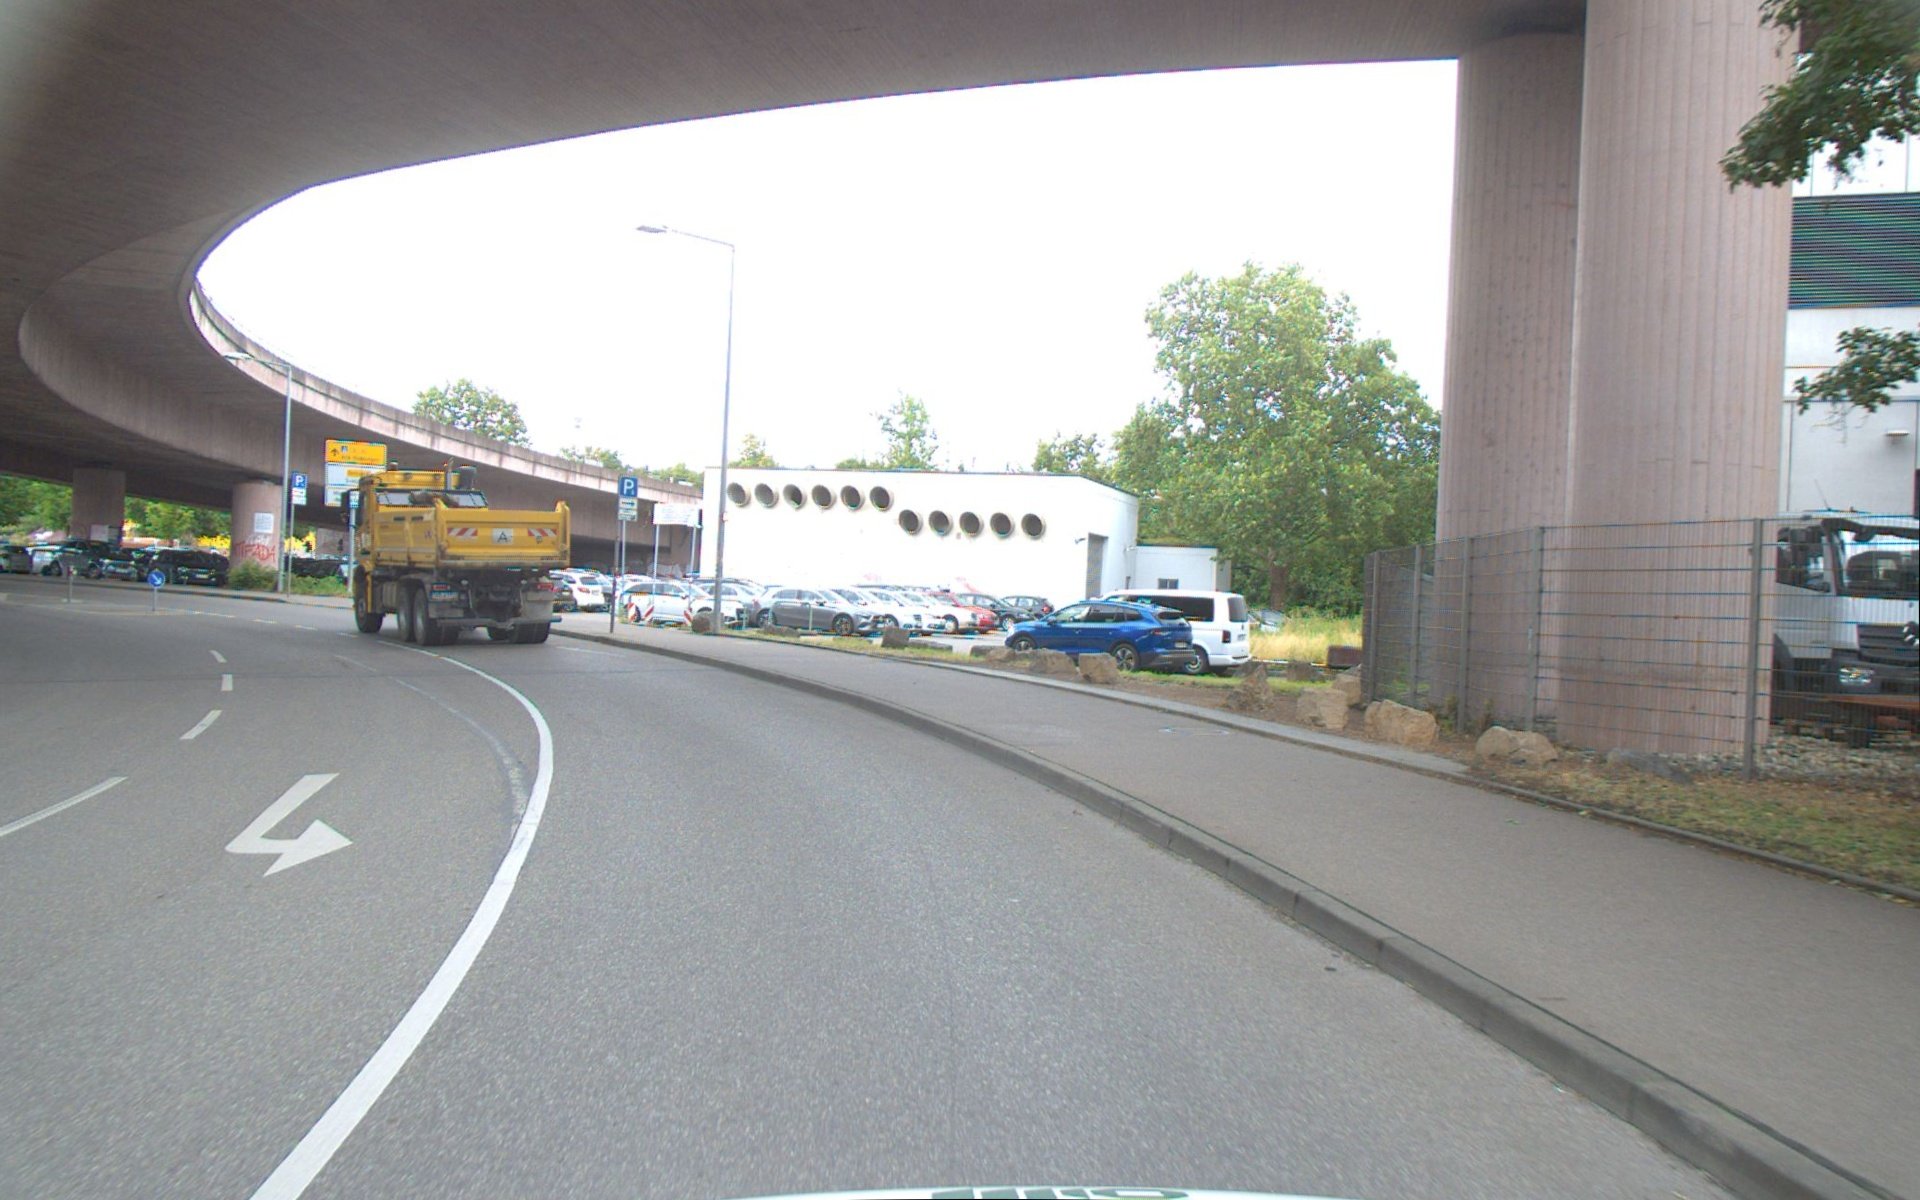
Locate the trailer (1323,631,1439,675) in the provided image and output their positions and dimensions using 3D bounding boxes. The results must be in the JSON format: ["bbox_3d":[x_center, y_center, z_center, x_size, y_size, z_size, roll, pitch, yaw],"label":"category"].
[{"bbox_3d":[9.675,1.207,37.968,2.498,0.915,1.484,1,0,17],"label":"trailer"}]

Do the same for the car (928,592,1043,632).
[{"bbox_3d":[1.068,0.482,68.230,4.337,1.450,1.839,3,0,22],"label":"car"}]

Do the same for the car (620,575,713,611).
[{"bbox_3d":[-14.450,-0.339,81.371,4.091,1.620,1.839,2,0,19],"label":"car"}]

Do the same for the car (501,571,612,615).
[{"bbox_3d":[-16.227,-0.269,66.564,3.989,1.584,1.757,2,0,19],"label":"car"}]

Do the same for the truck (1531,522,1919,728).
[{"bbox_3d":[12.379,0.344,27.077,2.414,2.936,6.084,2,0,-20],"label":"truck"}]

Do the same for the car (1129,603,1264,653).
[{"bbox_3d":[7.990,0.913,55.755,4.255,1.482,1.777,2,0,16],"label":"car"}]

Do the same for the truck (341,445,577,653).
[{"bbox_3d":[-10.499,-1.050,34.077,2.732,3.762,7.794,-1,2,-32],"label":"truck"}]

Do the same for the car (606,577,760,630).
[{"bbox_3d":[-8.986,0.109,53.665,4.576,1.501,1.858,3,0,22],"label":"car"}]

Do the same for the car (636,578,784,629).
[{"bbox_3d":[-8.493,0.107,56.176,4.575,1.501,1.859,2,0,19],"label":"car"}]

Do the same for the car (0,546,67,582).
[{"bbox_3d":[-43.973,-1.699,77.252,3.914,1.579,1.640,2,0,16],"label":"car"}]

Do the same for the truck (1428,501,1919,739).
[{"bbox_3d":[9.976,0.202,23.213,2.386,2.791,7.178,2,0,-25],"label":"truck"}]

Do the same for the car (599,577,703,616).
[{"bbox_3d":[-13.679,-0.166,73.217,4.159,1.535,1.710,2,0,19],"label":"car"}]

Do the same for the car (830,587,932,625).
[{"bbox_3d":[-3.322,0.237,69.620,3.881,1.417,1.770,2,0,19],"label":"car"}]

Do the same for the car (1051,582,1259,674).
[{"bbox_3d":[4.685,0.641,39.951,4.576,1.991,1.891,2,0,28],"label":"car"}]

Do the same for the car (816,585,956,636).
[{"bbox_3d":[-2.539,0.344,56.977,4.395,1.540,1.839,3,0,22],"label":"car"}]

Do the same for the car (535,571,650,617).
[{"bbox_3d":[-15.298,-0.248,68.888,4.326,1.720,1.757,2,0,19],"label":"car"}]

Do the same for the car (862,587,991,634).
[{"bbox_3d":[-1.234,0.382,61.292,4.395,1.540,1.839,3,0,22],"label":"car"}]

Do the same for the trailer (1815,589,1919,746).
[{"bbox_3d":[9.156,0.597,13.762,1.569,1.354,4.378,1,0,-4],"label":"trailer"}]

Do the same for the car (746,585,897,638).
[{"bbox_3d":[-4.348,0.360,51.901,4.337,1.450,1.839,3,0,22],"label":"car"}]

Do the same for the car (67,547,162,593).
[{"bbox_3d":[-32.524,-1.162,63.595,3.335,1.560,1.608,2,-2,29],"label":"car"}]

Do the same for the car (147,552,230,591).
[{"bbox_3d":[-32.448,-1.188,69.554,3.790,1.533,1.780,1,-2,42],"label":"car"}]

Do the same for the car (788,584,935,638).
[{"bbox_3d":[-3.235,0.348,54.357,4.395,1.540,1.839,3,0,22],"label":"car"}]

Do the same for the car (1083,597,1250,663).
[{"bbox_3d":[5.714,0.793,45.838,4.258,1.615,1.776,2,0,21],"label":"car"}]

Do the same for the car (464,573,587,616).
[{"bbox_3d":[-16.858,-0.199,64.203,4.352,1.474,1.757,2,0,19],"label":"car"}]

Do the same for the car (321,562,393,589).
[{"bbox_3d":[-37.335,-1.486,102.418,3.767,1.504,1.759,2,0,12],"label":"car"}]

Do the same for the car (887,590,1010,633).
[{"bbox_3d":[-0.452,0.452,63.736,4.337,1.450,1.839,3,0,22],"label":"car"}]

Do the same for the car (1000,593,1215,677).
[{"bbox_3d":[3.282,0.751,37.380,4.595,1.663,1.768,2,1,38],"label":"car"}]

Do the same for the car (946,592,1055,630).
[{"bbox_3d":[1.767,0.474,72.110,4.337,1.450,1.839,3,0,22],"label":"car"}]

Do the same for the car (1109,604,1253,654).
[{"bbox_3d":[7.106,0.907,53.234,4.259,1.408,1.775,2,0,22],"label":"car"}]
